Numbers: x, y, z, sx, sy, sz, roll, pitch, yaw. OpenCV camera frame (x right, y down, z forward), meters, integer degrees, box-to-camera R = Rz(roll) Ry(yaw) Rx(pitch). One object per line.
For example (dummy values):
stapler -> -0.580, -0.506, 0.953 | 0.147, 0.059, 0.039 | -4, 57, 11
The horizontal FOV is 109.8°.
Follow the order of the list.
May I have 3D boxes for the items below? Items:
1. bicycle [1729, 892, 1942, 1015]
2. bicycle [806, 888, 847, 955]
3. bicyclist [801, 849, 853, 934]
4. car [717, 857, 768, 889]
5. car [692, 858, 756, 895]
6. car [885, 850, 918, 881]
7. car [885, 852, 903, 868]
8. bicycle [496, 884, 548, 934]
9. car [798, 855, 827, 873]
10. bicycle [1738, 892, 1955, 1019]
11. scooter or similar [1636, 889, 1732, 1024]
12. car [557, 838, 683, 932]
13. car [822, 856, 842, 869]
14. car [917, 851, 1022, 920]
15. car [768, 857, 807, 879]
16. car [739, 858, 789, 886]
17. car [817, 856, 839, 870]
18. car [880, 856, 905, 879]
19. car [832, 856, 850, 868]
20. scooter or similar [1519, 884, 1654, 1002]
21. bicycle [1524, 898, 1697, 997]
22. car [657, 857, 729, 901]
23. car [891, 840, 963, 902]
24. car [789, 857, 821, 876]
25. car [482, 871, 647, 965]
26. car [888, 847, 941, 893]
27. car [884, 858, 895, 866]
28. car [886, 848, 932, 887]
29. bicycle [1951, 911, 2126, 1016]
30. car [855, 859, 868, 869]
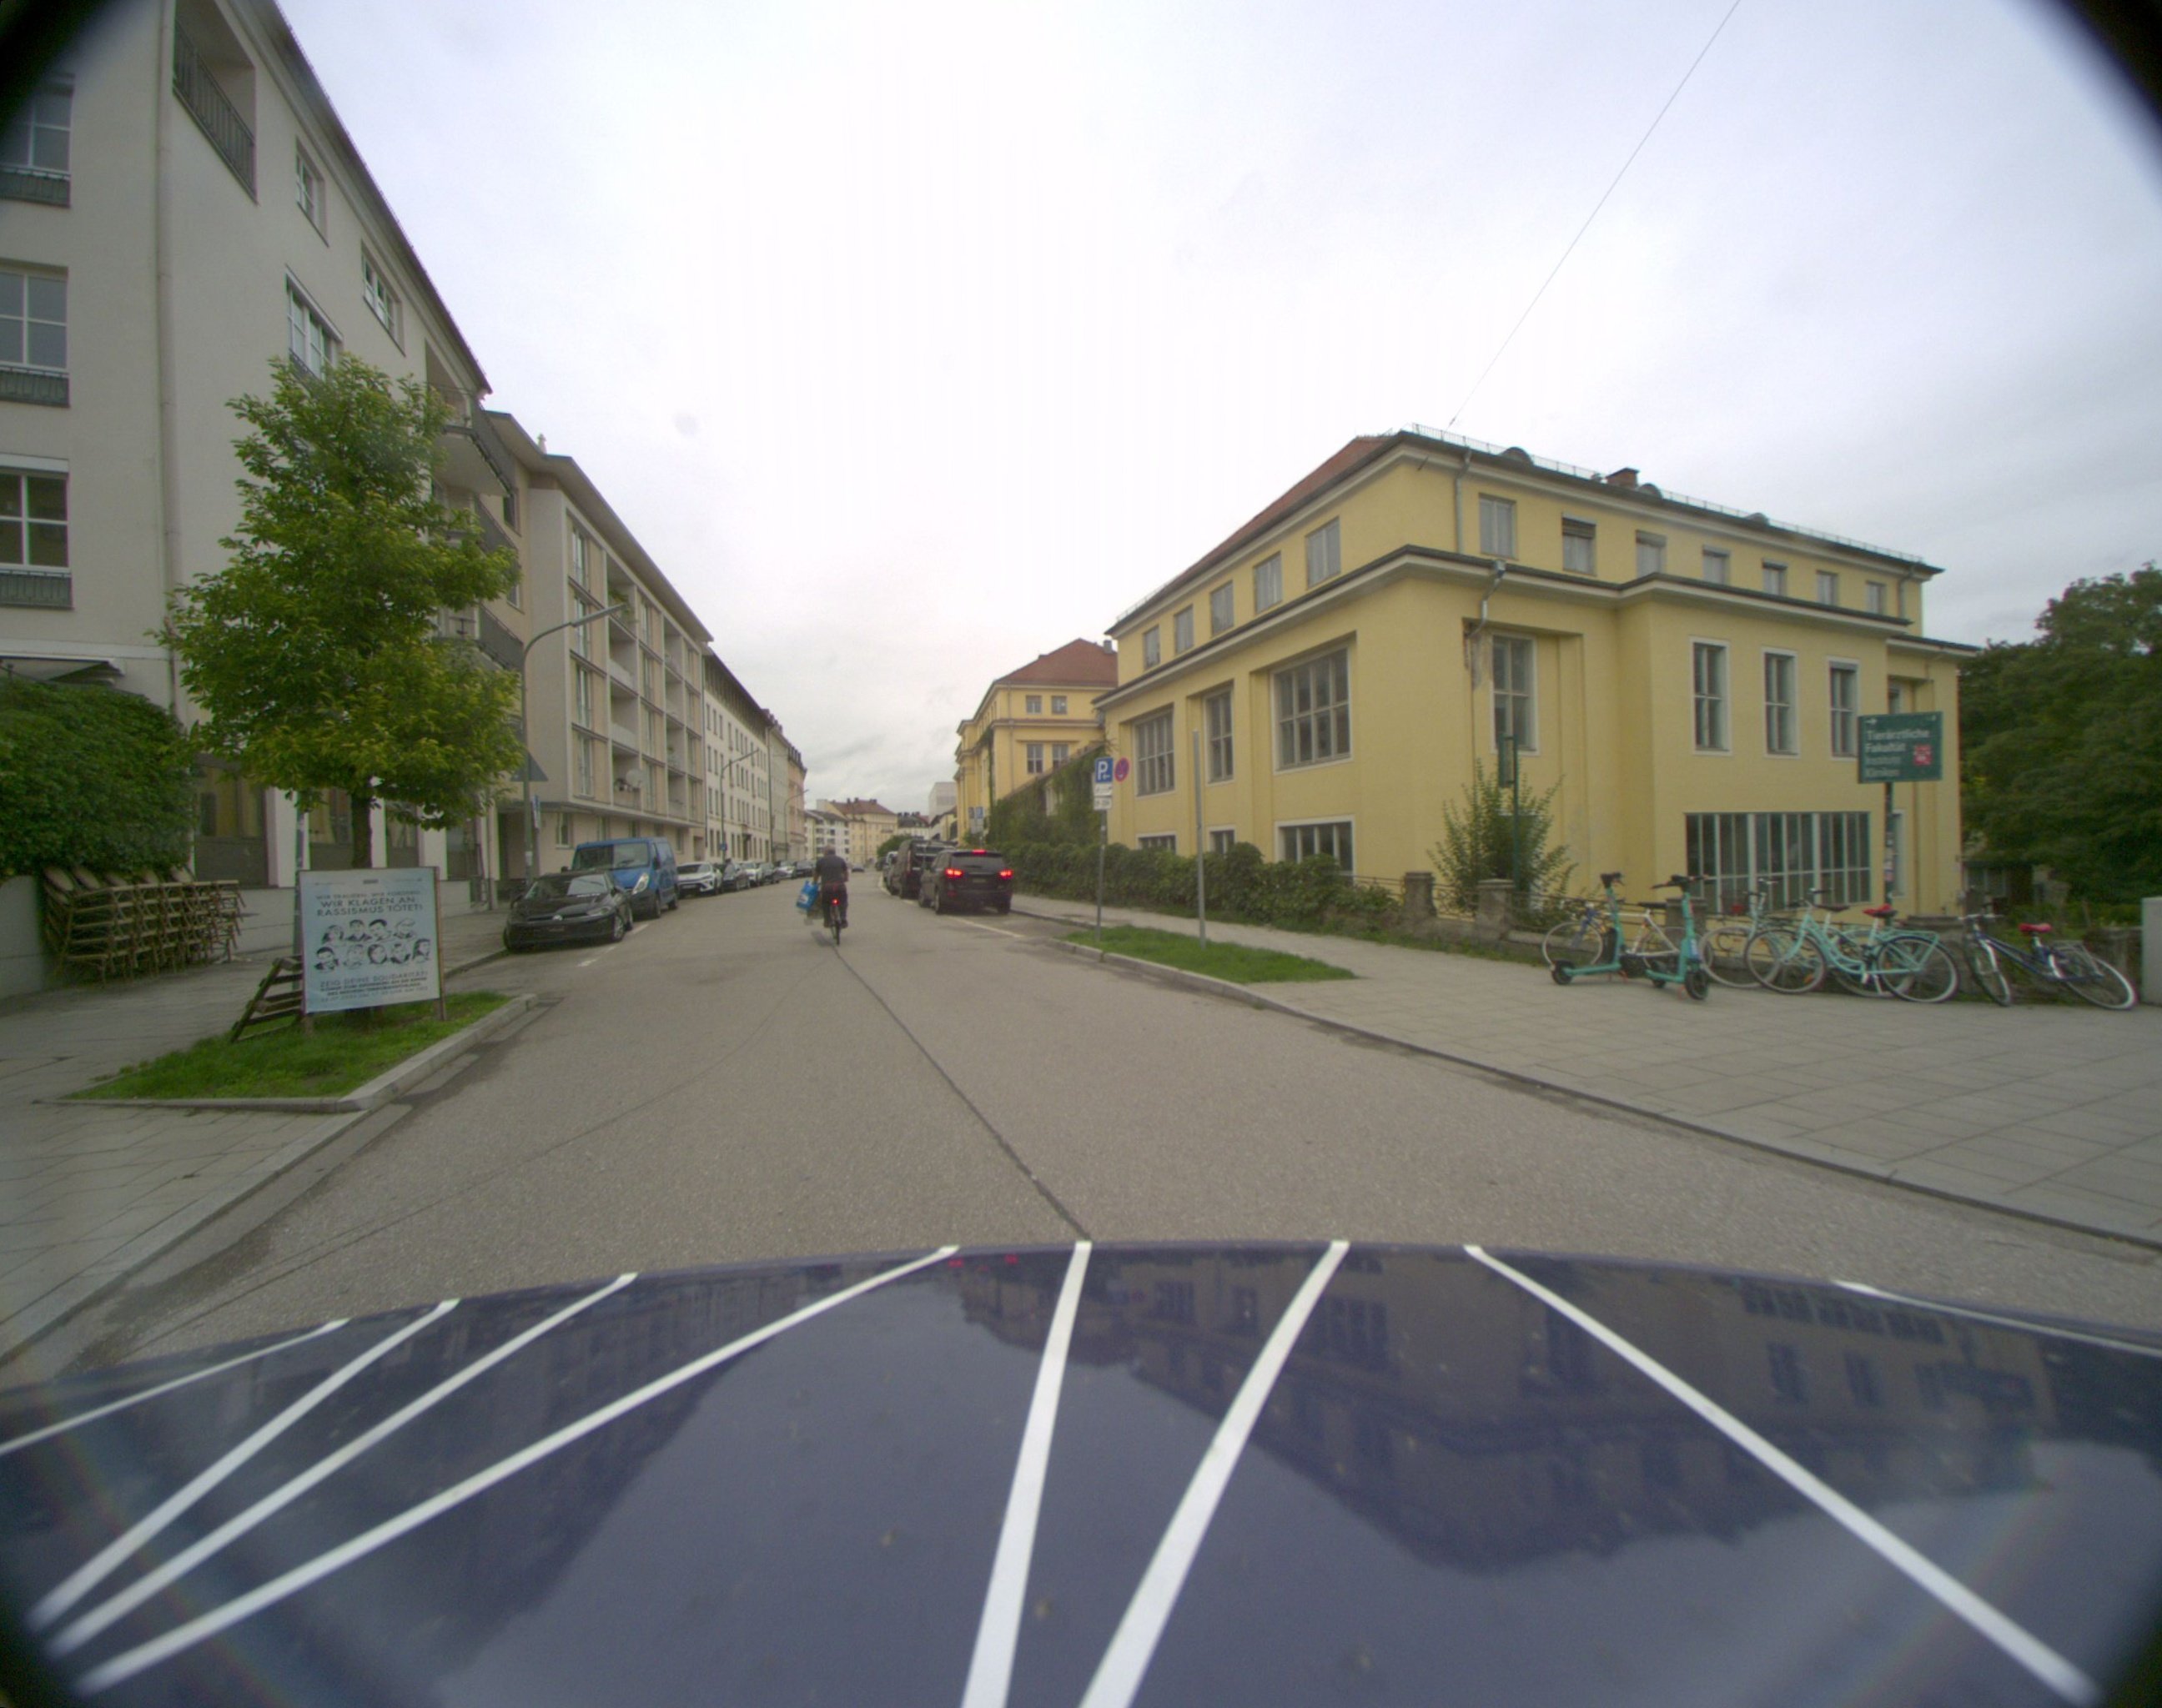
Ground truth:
bicycle -> 8.026, 1.037, 8.135 | 1.650, 1.184, 0.203 | 2, 1, 19
bicycle -> -4.445, 1.152, 13.361 | 0.623, 1.011, 1.715 | 0, 0, -16
bicyclist -> -4.472, 0.642, 13.407 | 0.843, 1.449, 0.743 | 0, 0, -17
car -> -18.728, 1.030, 42.235 | 1.919, 1.553, 4.084 | -5, 1, -16
car -> -17.478, 1.055, 37.446 | 1.962, 1.553, 4.605 | -5, 1, -15
car -> -11.341, 0.700, 48.022 | 1.977, 1.825, 4.676 | 0, 0, -13
car -> -22.294, 0.708, 90.639 | 1.978, 1.825, 4.675 | 0, 0, -15
bicycle -> -13.374, 1.277, 18.221 | 0.488, 1.046, 2.178 | 0, 0, -23
car -> -25.836, 0.942, 73.206 | 1.893, 1.446, 4.735 | -5, 1, -12
bicycle -> 7.957, 1.031, 7.948 | 1.650, 1.191, 0.170 | 2, 1, 19
scooter or similar -> 6.038, 0.984, 7.656 | 0.323, 1.206, 1.119 | 1, 0, 15
car -> -12.546, 0.709, 21.042 | 1.986, 2.158, 4.704 | -5, 3, -21
car -> -31.678, 1.076, 96.742 | 1.893, 1.446, 4.735 | -5, 1, -12
car -> -3.222, 0.777, 21.120 | 1.939, 1.698, 4.617 | 0, 0, -21
car -> -22.498, 1.045, 58.383 | 1.893, 1.446, 4.735 | -5, 1, -12
car -> -19.520, 1.056, 46.942 | 1.893, 1.446, 4.597 | -5, 1, -12
car -> -29.874, 1.094, 89.845 | 1.893, 1.446, 4.735 | -5, 1, -12
car -> -15.550, 1.083, 62.717 | 1.978, 1.825, 4.676 | 0, 0, -14
car -> -35.322, 1.170, 111.872 | 1.893, 1.446, 4.735 | -5, 1, -12
scooter or similar -> 5.611, 0.960, 8.441 | 1.391, 1.240, 0.396 | 0, 1, -14
bicycle -> 6.305, 1.078, 9.130 | 1.649, 0.988, 0.249 | 2, 2, 44
car -> -16.266, 1.014, 32.083 | 1.986, 1.553, 4.706 | -5, 1, -20
car -> -5.719, 0.574, 27.819 | 1.978, 2.059, 4.674 | 0, 0, -19
car -> -24.390, 1.057, 67.249 | 1.893, 1.446, 4.735 | -5, 1, -12
car -> -10.096, 1.154, 15.190 | 1.782, 1.388, 3.797 | -5, 2, -21
car -> -7.362, 0.657, 33.277 | 1.978, 1.825, 4.675 | 0, 0, -16
car -> -36.001, 1.485, 142.661 | 1.772, 1.521, 3.996 | -2, 1, -11
car -> -8.719, 0.648, 38.183 | 1.978, 1.825, 4.675 | 0, 0, -16
bicycle -> 9.961, 1.133, 7.909 | 1.654, 1.032, 0.307 | 1, 1, -8
car -> -32.978, 1.473, 114.259 | 1.795, 1.334, 3.830 | -2, 1, -15
